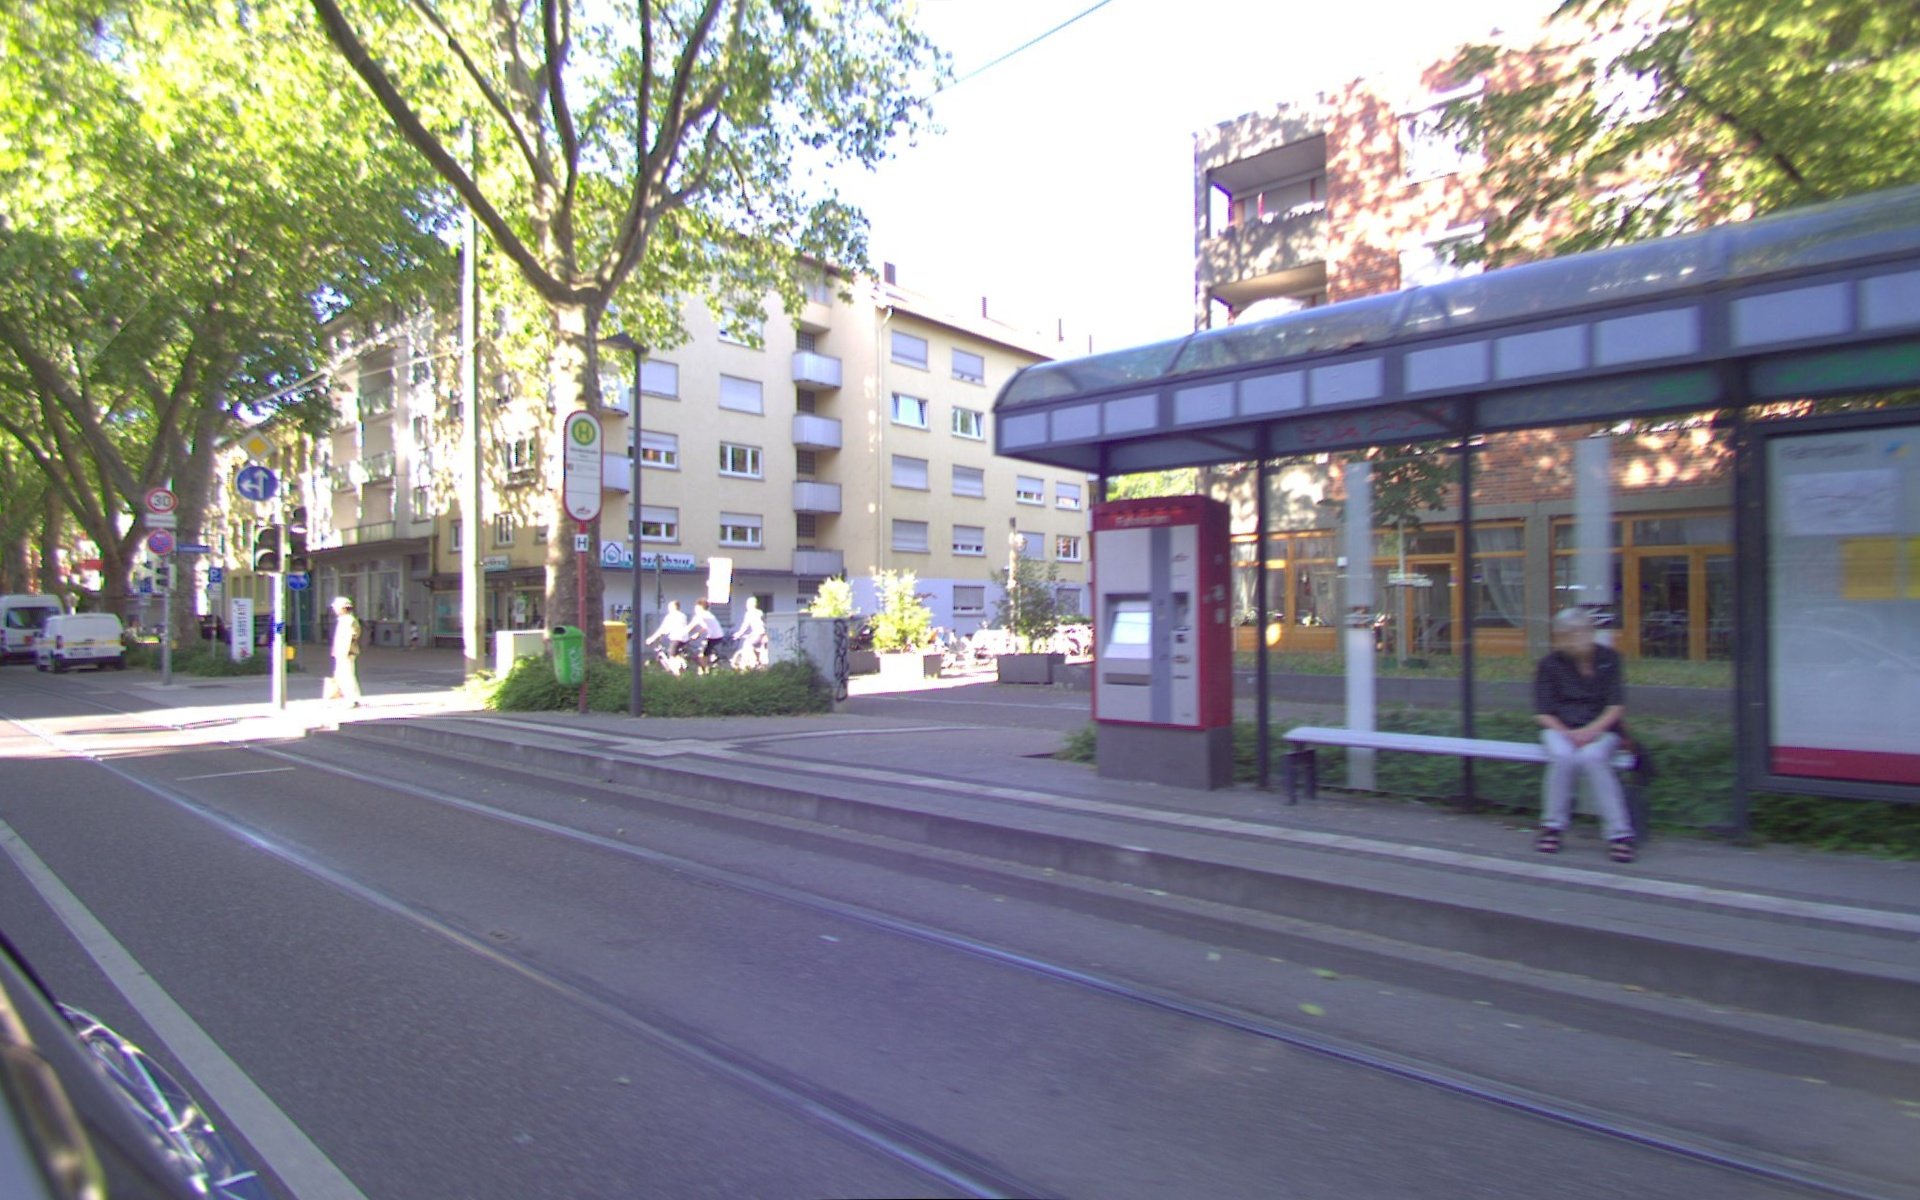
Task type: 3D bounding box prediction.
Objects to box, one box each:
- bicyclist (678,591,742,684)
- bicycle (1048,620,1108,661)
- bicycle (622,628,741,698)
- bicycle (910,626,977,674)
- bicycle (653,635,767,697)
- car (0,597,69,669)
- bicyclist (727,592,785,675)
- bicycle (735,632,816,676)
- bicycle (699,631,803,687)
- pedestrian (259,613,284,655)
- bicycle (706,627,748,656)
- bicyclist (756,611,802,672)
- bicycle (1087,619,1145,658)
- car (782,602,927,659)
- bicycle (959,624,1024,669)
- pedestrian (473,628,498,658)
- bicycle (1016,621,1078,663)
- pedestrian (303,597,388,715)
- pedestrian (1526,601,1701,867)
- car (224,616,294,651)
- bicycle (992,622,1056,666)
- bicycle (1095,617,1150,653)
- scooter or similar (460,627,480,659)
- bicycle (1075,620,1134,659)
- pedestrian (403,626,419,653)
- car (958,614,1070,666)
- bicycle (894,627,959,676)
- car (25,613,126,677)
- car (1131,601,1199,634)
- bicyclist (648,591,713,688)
[{"bbox_3d":[-4.922,0.717,19.893,0.996,1.763,0.767,-1,0,39],"label":"bicyclist"},{"bbox_3d":[3.309,1.127,28.433,1.637,1.092,0.536,-1,0,40],"label":"bicycle"},{"bbox_3d":[-5.280,1.152,19.074,2.593,1.200,0.775,-1,0,39],"label":"bicycle"},{"bbox_3d":[-0.409,1.221,24.520,1.637,1.092,0.536,-4,-2,40],"label":"bicycle"},{"bbox_3d":[-4.952,1.265,19.934,2.593,1.119,0.775,-1,0,39],"label":"bicycle"},{"bbox_3d":[-36.345,1.228,39.265,6.024,2.597,2.085,-1,0,43],"label":"car"},{"bbox_3d":[-4.481,0.714,22.237,0.996,1.763,0.767,-1,0,38],"label":"bicyclist"},{"bbox_3d":[-4.849,1.406,26.563,2.206,1.078,0.675,-1,0,31],"label":"bicycle"},{"bbox_3d":[-4.648,1.276,22.364,2.593,1.119,0.775,-1,0,39],"label":"bicycle"},{"bbox_3d":[-31.886,1.566,46.886,0.863,1.883,0.737,-1,0,39],"label":"pedestrian"},{"bbox_3d":[-9.148,1.617,39.769,0.543,1.092,1.616,-3,-2,42],"label":"bicycle"},{"bbox_3d":[-4.733,1.072,26.487,0.990,1.559,0.675,-1,0,31],"label":"bicyclist"},{"bbox_3d":[4.622,1.126,30.001,1.637,1.092,0.536,-1,0,40],"label":"bicycle"},{"bbox_3d":[-3.007,0.839,29.551,1.998,1.519,3.947,-1,0,40],"label":"car"},{"bbox_3d":[0.791,1.177,25.696,1.637,1.092,0.536,-4,-2,40],"label":"bicycle"},{"bbox_3d":[-17.623,1.590,37.575,0.710,1.055,0.572,-1,0,40],"label":"pedestrian"},{"bbox_3d":[2.344,1.138,27.437,1.637,1.092,0.536,-3,-2,40],"label":"bicycle"},{"bbox_3d":[-10.068,0.881,16.581,0.919,1.849,0.915,-1,0,37],"label":"pedestrian"},{"bbox_3d":[3.221,0.608,4.982,0.658,1.177,0.698,-1,-2,38],"label":"pedestrian"},{"bbox_3d":[-37.279,1.749,53.784,4.896,1.746,1.972,-1,0,42],"label":"car"},{"bbox_3d":[1.677,1.167,26.603,1.637,1.092,0.536,-4,-2,40],"label":"bicycle"},{"bbox_3d":[5.084,1.080,31.667,1.637,1.092,0.536,-1,0,40],"label":"bicycle"},{"bbox_3d":[-18.217,1.587,37.646,0.633,1.176,0.677,-1,0,-23],"label":"scooter or similar"},{"bbox_3d":[4.193,1.138,29.423,1.637,1.092,0.536,-1,0,40],"label":"bicycle"},{"bbox_3d":[-23.097,1.643,42.547,0.436,1.114,0.417,-1,0,31],"label":"pedestrian"},{"bbox_3d":[1.932,1.348,35.302,1.959,1.674,3.947,-1,-1,40],"label":"car"},{"bbox_3d":[-0.808,1.237,24.044,1.535,1.092,0.536,-5,-3,40],"label":"bicycle"},{"bbox_3d":[-28.058,1.375,32.064,4.314,1.864,1.745,-1,0,39],"label":"car"},{"bbox_3d":[11.197,0.909,55.225,1.998,1.696,3.947,-1,0,40],"label":"car"},{"bbox_3d":[-5.269,0.725,19.076,0.950,1.776,0.775,-1,0,38],"label":"bicyclist"}]
